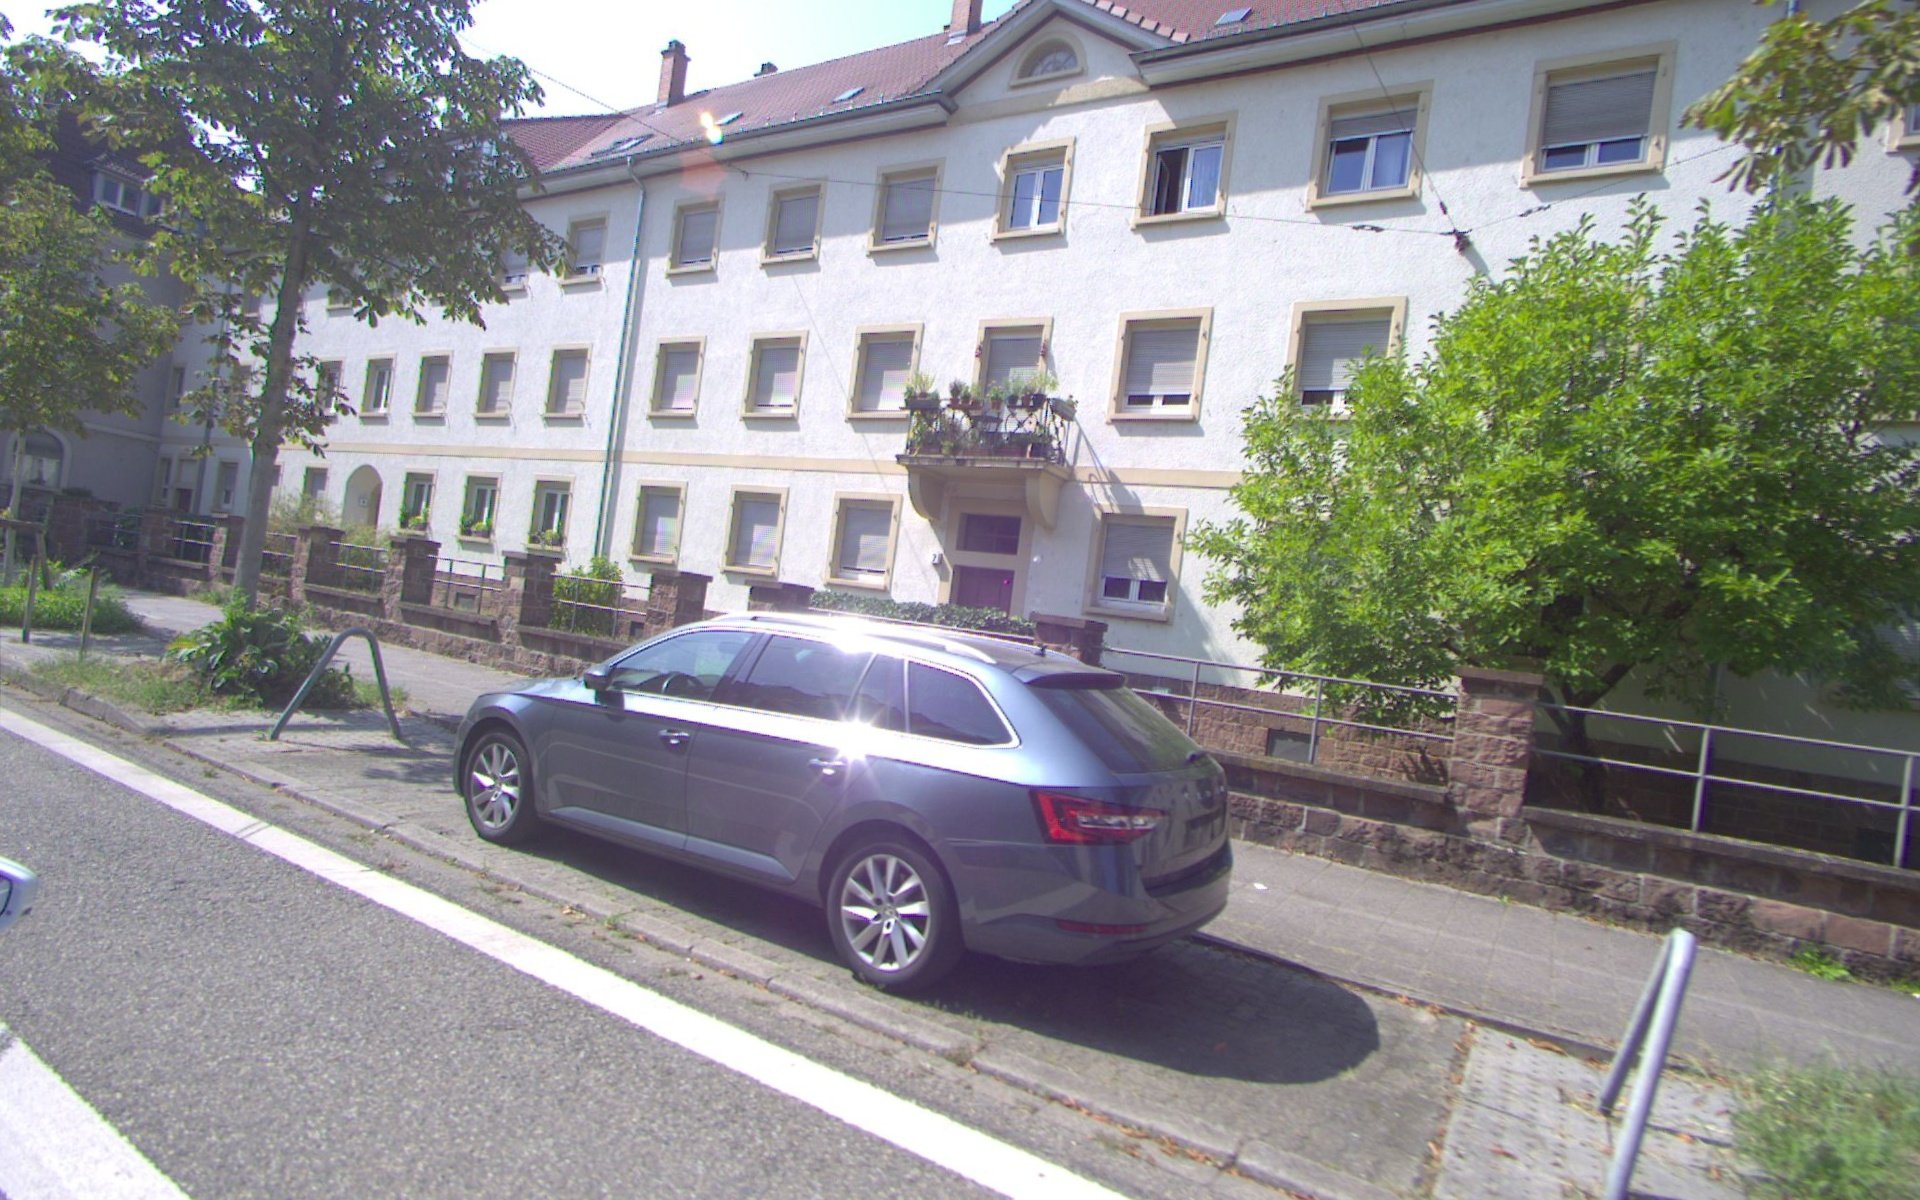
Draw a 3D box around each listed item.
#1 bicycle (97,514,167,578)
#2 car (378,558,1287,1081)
[{"bbox_3d":[-20.611,-1.362,25.036,2.331,1.374,0.595,6,-1,34],"label":"bicycle"},{"bbox_3d":[-0.902,0.809,5.601,4.760,1.494,1.896,7,-1,31],"label":"car"}]
